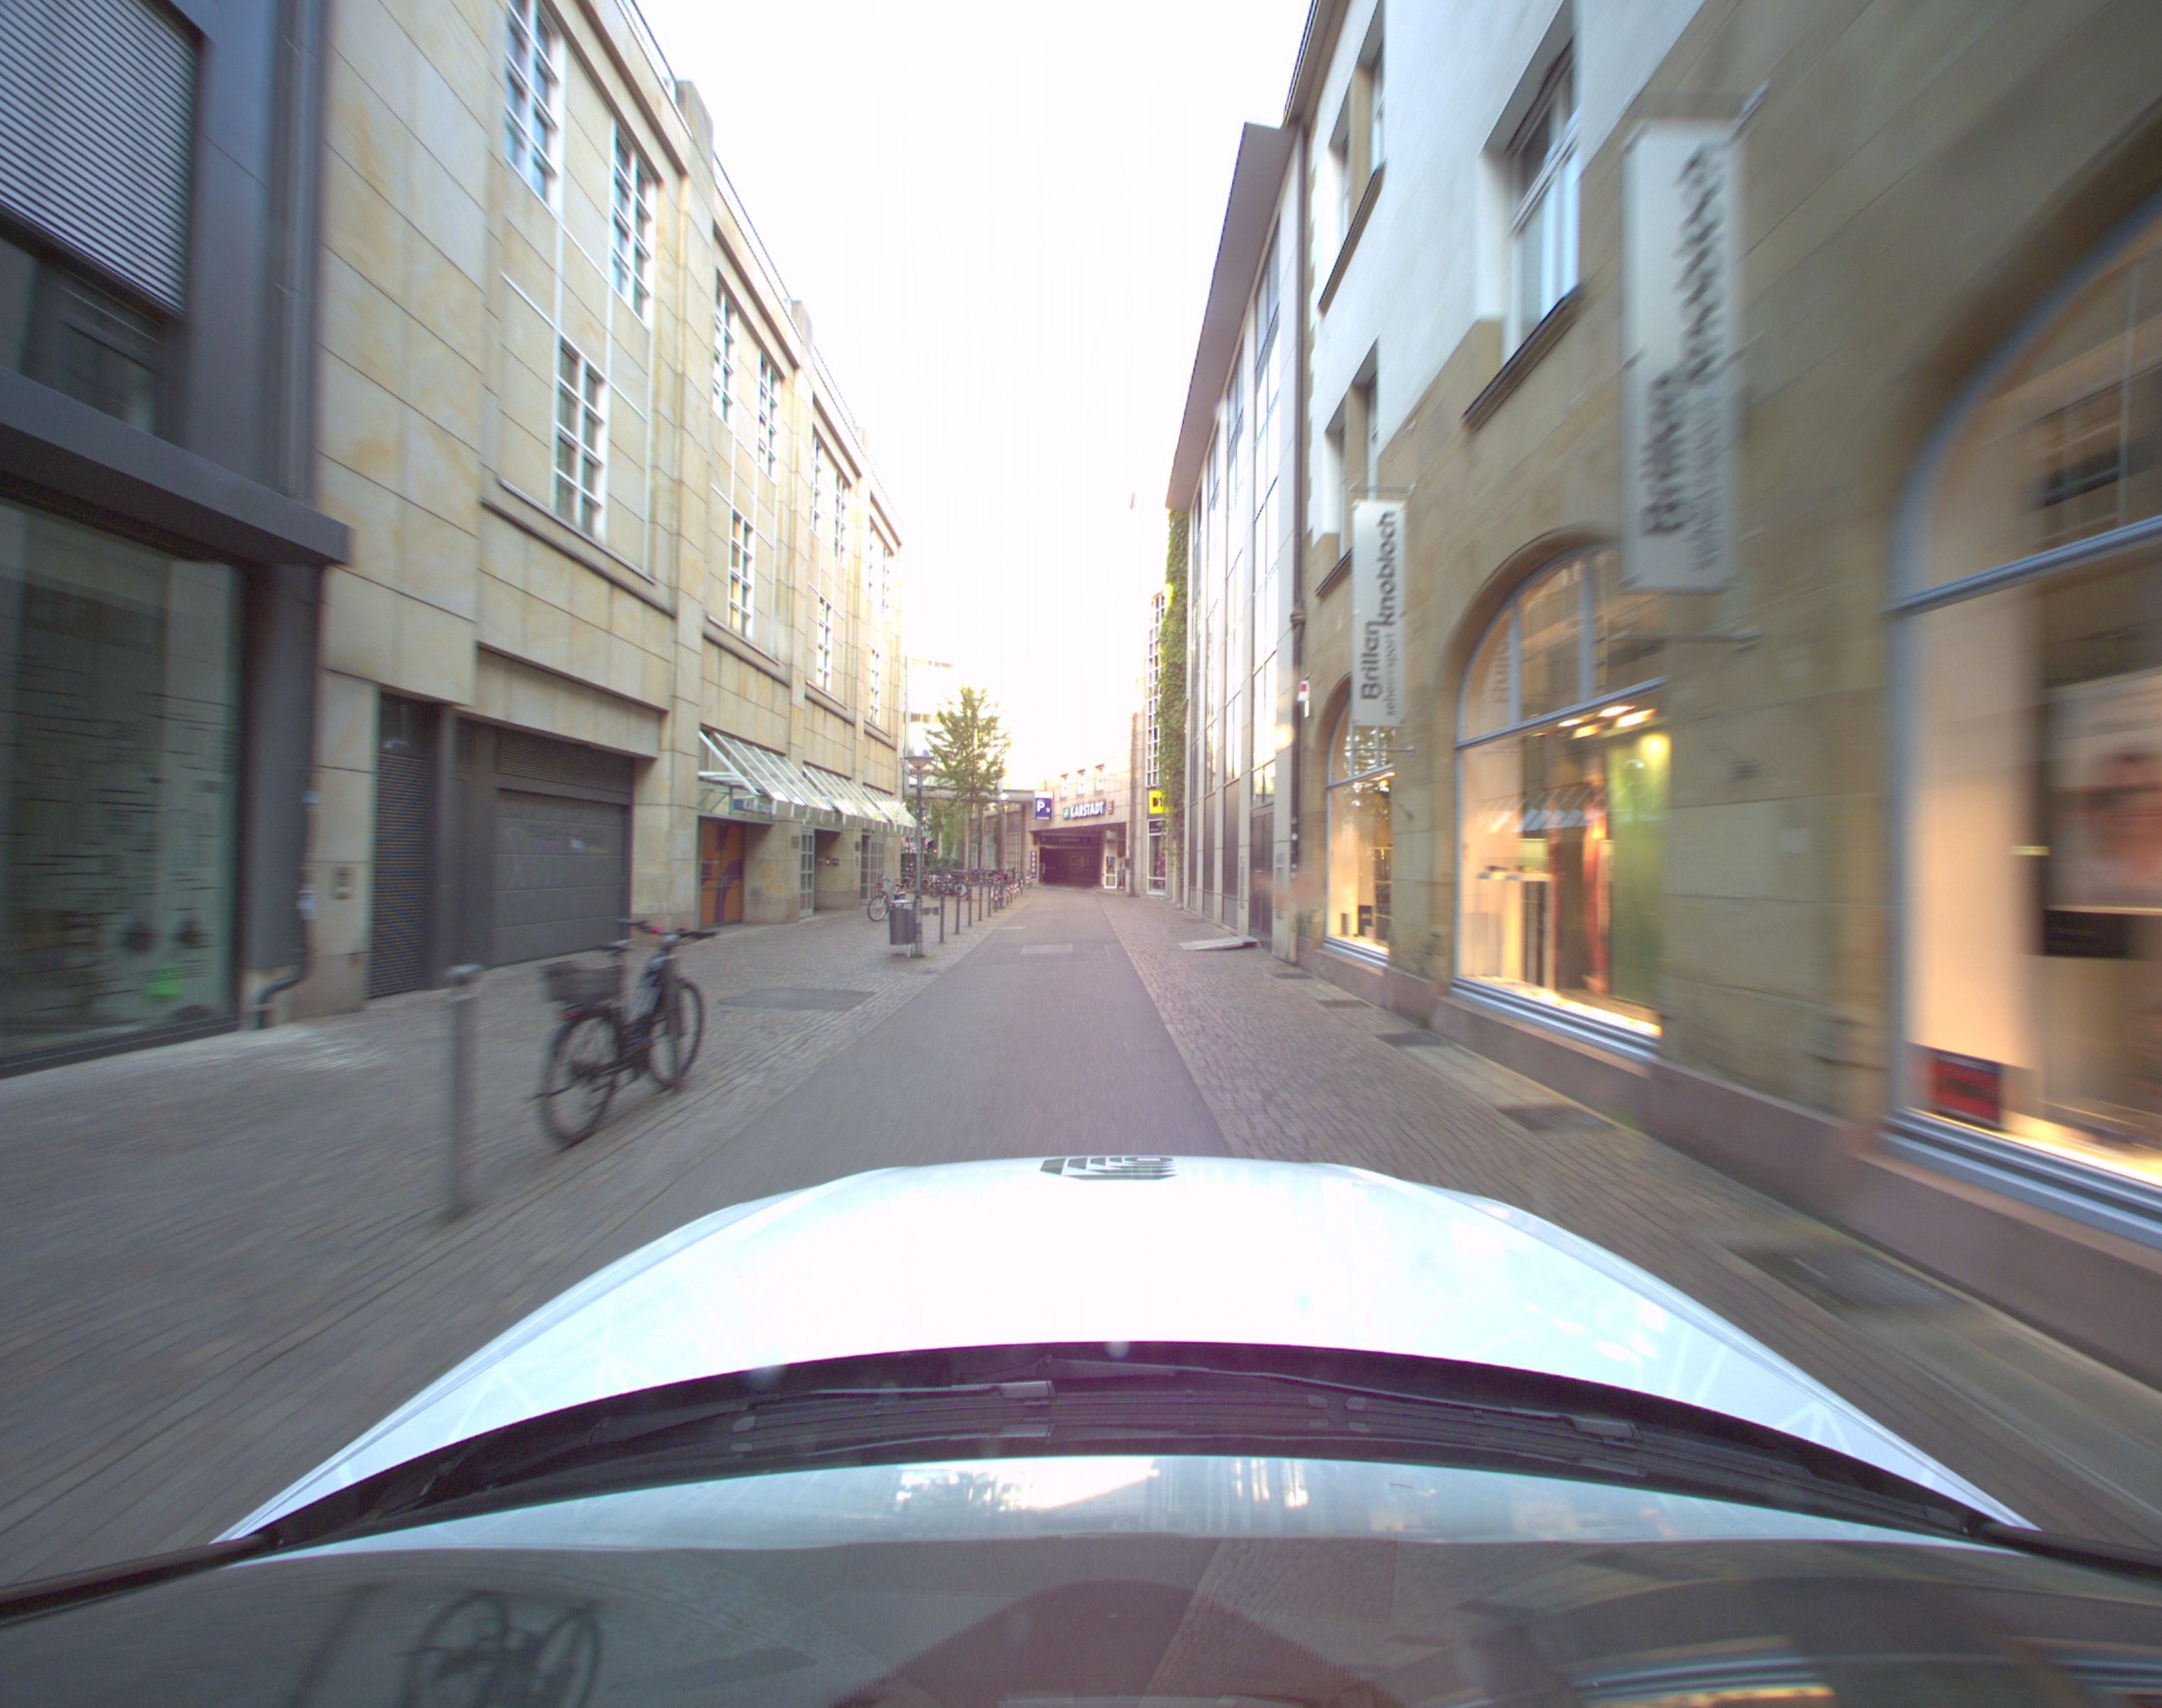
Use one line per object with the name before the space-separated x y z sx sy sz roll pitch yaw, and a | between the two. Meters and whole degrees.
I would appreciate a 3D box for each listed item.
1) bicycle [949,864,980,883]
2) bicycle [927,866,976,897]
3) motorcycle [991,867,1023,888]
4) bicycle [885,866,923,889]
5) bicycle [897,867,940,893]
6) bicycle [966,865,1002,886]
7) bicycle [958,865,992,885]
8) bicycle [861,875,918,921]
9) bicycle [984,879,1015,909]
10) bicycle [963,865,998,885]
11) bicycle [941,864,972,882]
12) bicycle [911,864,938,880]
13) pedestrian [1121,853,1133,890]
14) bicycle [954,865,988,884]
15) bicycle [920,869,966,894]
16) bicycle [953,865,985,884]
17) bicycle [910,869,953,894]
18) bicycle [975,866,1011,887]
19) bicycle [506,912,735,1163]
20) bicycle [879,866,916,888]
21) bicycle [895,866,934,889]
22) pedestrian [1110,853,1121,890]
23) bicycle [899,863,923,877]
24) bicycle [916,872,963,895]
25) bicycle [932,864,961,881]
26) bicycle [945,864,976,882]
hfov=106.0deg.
bicycle | -7.790 1.310 54.448 2.001 1.182 0.689 -1 0 -20
bicycle | -5.476 1.145 34.429 1.920 1.261 0.803 1 -1 -21
motorcycle | -4.226 1.360 46.647 1.750 1.155 0.591 -1 0 -18
bicycle | -9.404 1.239 43.200 1.918 1.182 0.692 1 -1 -18
bicycle | -7.736 1.226 38.802 1.918 1.182 0.692 1 -1 -18
bicycle | -5.849 1.281 49.149 2.001 1.182 0.691 -1 0 -20
bicycle | -6.649 1.322 51.147 2.001 1.182 0.797 -1 0 -20
bicycle | -4.954 1.129 21.215 0.688 1.112 1.783 0 -1 15
bicycle | -2.793 1.351 28.134 0.501 0.966 1.701 0 -1 15
bicycle | -6.192 1.282 50.023 2.001 1.182 0.797 -1 0 -20
bicycle | -8.668 1.348 56.741 2.001 1.182 0.689 -1 0 -20
bicycle | -12.410 1.404 64.688 2.001 1.182 0.689 -1 0 -20
pedestrian | 2.329 0.903 41.283 0.540 1.861 0.409 1 0 5
bicycle | -7.095 1.314 52.592 2.001 1.182 0.797 -1 0 -20
bicycle | -6.226 1.250 36.745 1.920 1.102 0.691 1 -1 -21
bicycle | -7.359 1.319 53.574 2.001 1.182 0.689 -1 0 -20
bicycle | -6.965 1.280 37.916 1.918 1.102 0.692 1 -1 -18
bicycle | -5.202 1.306 48.302 2.001 1.182 0.691 -1 0 -20
bicycle | -2.729 0.993 5.069 0.409 1.132 1.928 1 -1 -3
bicycle | -9.975 1.239 44.231 1.918 1.182 0.692 1 -1 -18
bicycle | -8.688 1.241 42.476 1.918 1.182 0.692 1 -1 -18
pedestrian | 1.754 0.895 41.540 0.540 1.846 0.409 1 0 5
bicycle | -14.599 1.347 69.943 2.001 1.182 0.689 -1 0 -20
bicycle | -6.224 1.288 35.825 1.920 0.994 0.691 1 -1 -21
bicycle | -9.736 1.321 59.079 2.001 1.182 0.689 -1 0 -20
bicycle | -8.218 1.307 55.676 2.001 1.182 0.689 -1 0 -20
